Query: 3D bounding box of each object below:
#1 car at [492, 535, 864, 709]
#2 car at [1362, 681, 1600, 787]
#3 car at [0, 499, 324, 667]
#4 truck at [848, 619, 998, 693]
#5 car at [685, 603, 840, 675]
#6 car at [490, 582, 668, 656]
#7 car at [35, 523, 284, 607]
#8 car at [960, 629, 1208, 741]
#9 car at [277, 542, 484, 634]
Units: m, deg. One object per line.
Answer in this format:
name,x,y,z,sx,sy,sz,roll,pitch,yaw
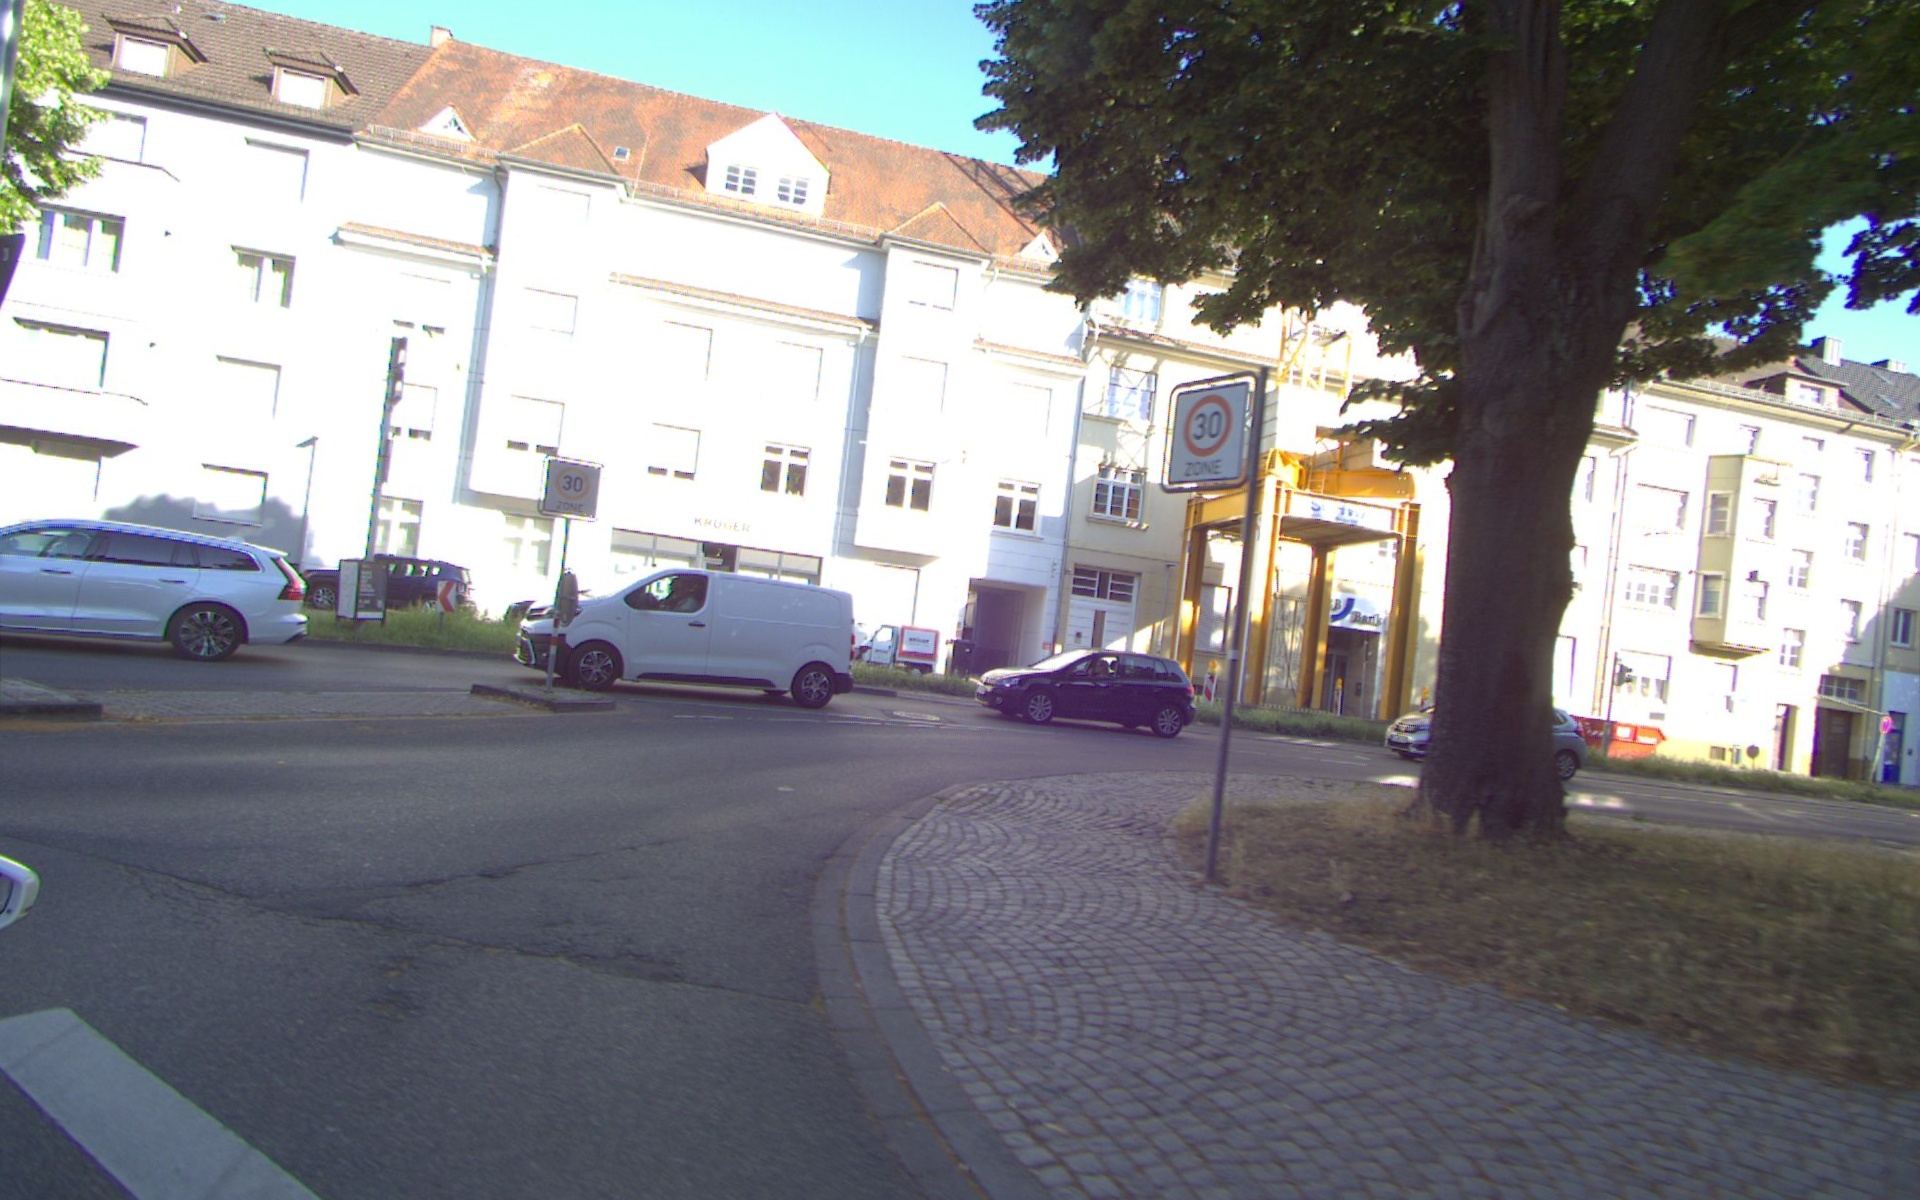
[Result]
car,-4.141,0.391,15.074,4.854,1.875,1.984,9,-2,-32
car,10.869,2.783,21.100,4.008,1.536,1.996,8,-2,-14
car,-10.124,-0.288,11.280,4.742,1.480,1.833,10,-3,-42
truck,-1.146,1.652,30.087,4.032,1.603,1.996,8,-2,-12
car,-5.622,1.110,28.753,4.032,1.469,1.996,8,-2,-12
car,-10.380,0.534,27.702,4.140,1.402,1.997,8,-2,-10
car,-20.125,-0.828,25.508,4.376,1.402,1.996,8,-2,-13
car,2.258,1.559,18.761,4.010,1.461,1.995,8,-2,-15
car,-15.214,-0.276,26.664,4.142,1.769,1.996,8,-2,-13
